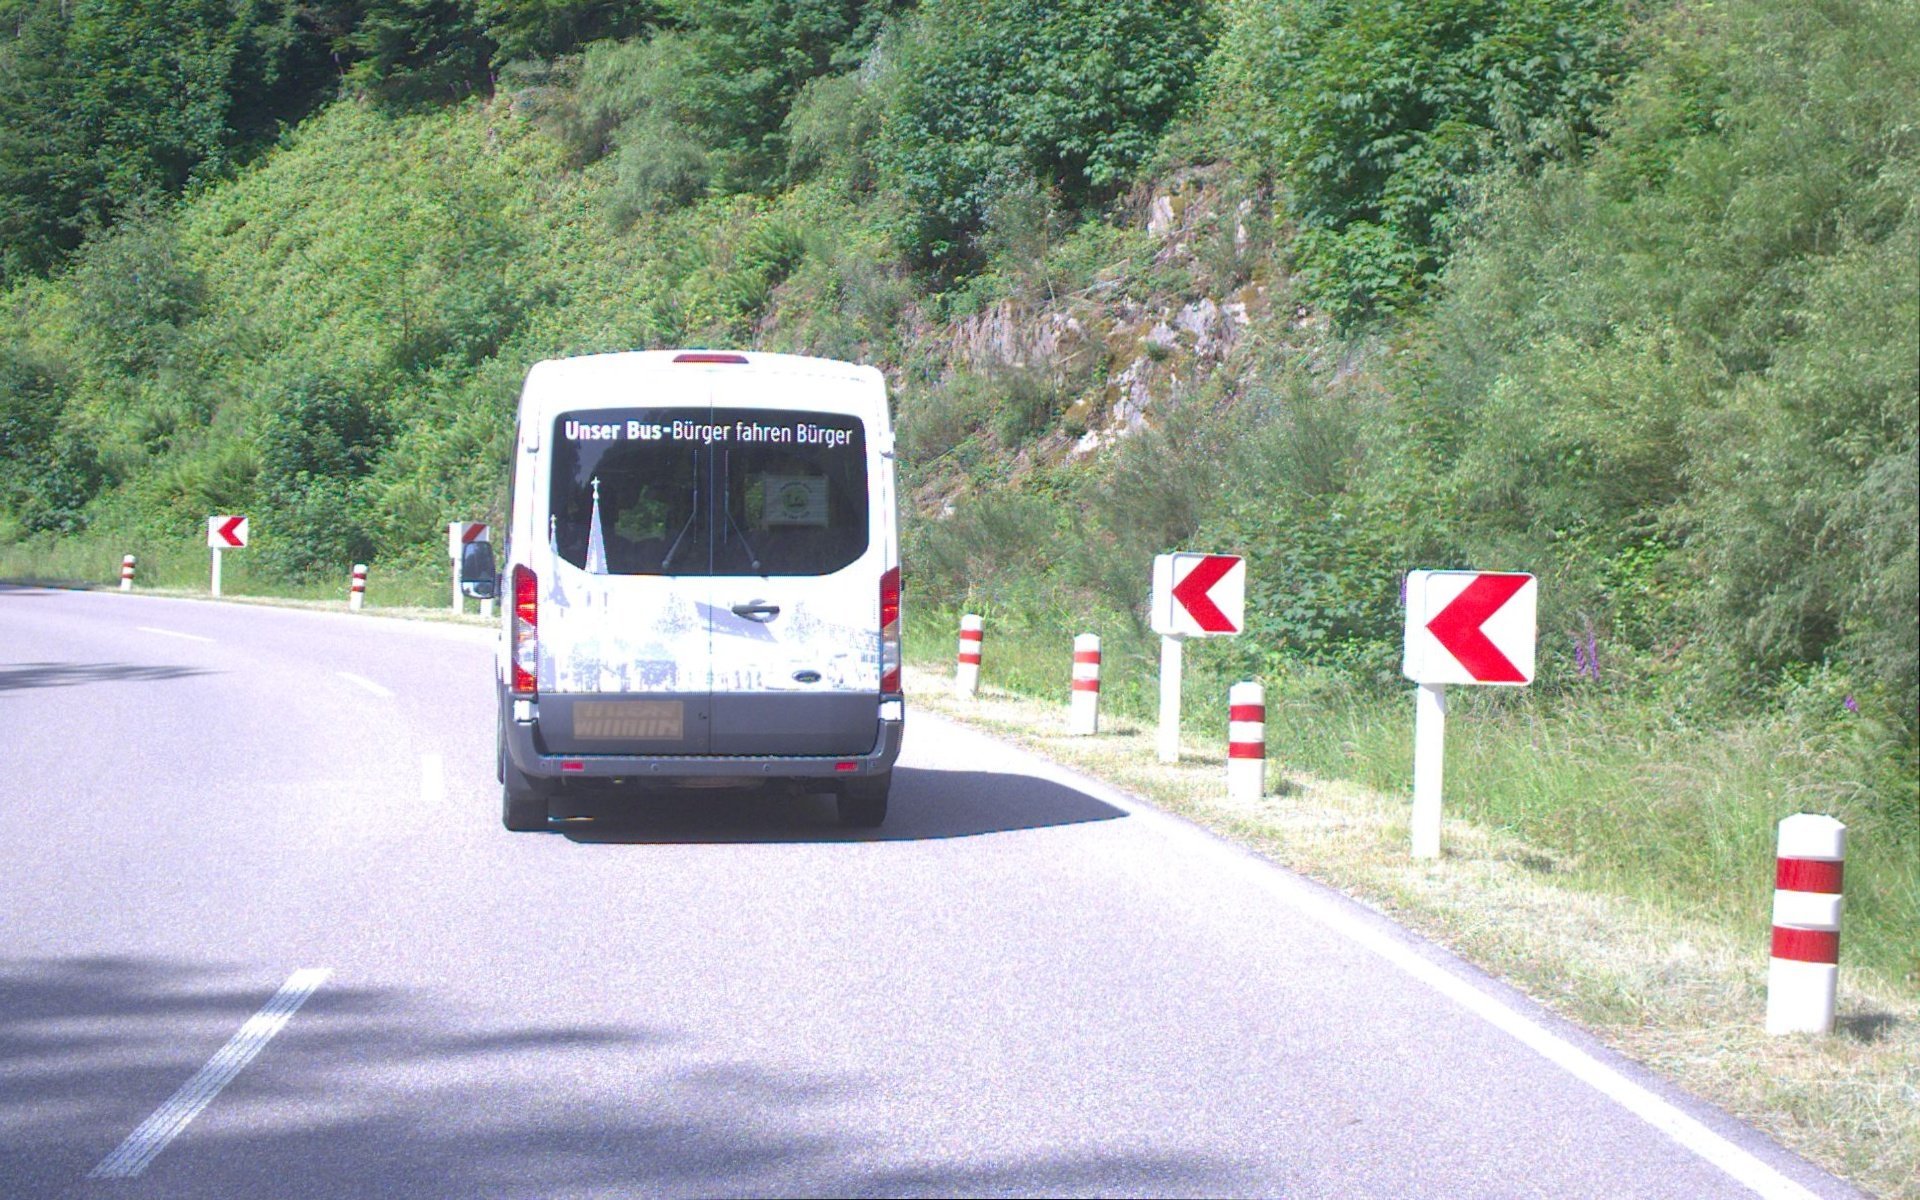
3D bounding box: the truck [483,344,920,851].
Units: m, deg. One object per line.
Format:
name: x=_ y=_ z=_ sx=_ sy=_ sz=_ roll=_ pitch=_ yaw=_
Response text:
truck: x=-1.587 y=-0.054 z=19.179 sx=2.083 sy=2.451 sz=4.876 roll=0 pitch=1 yaw=-8
